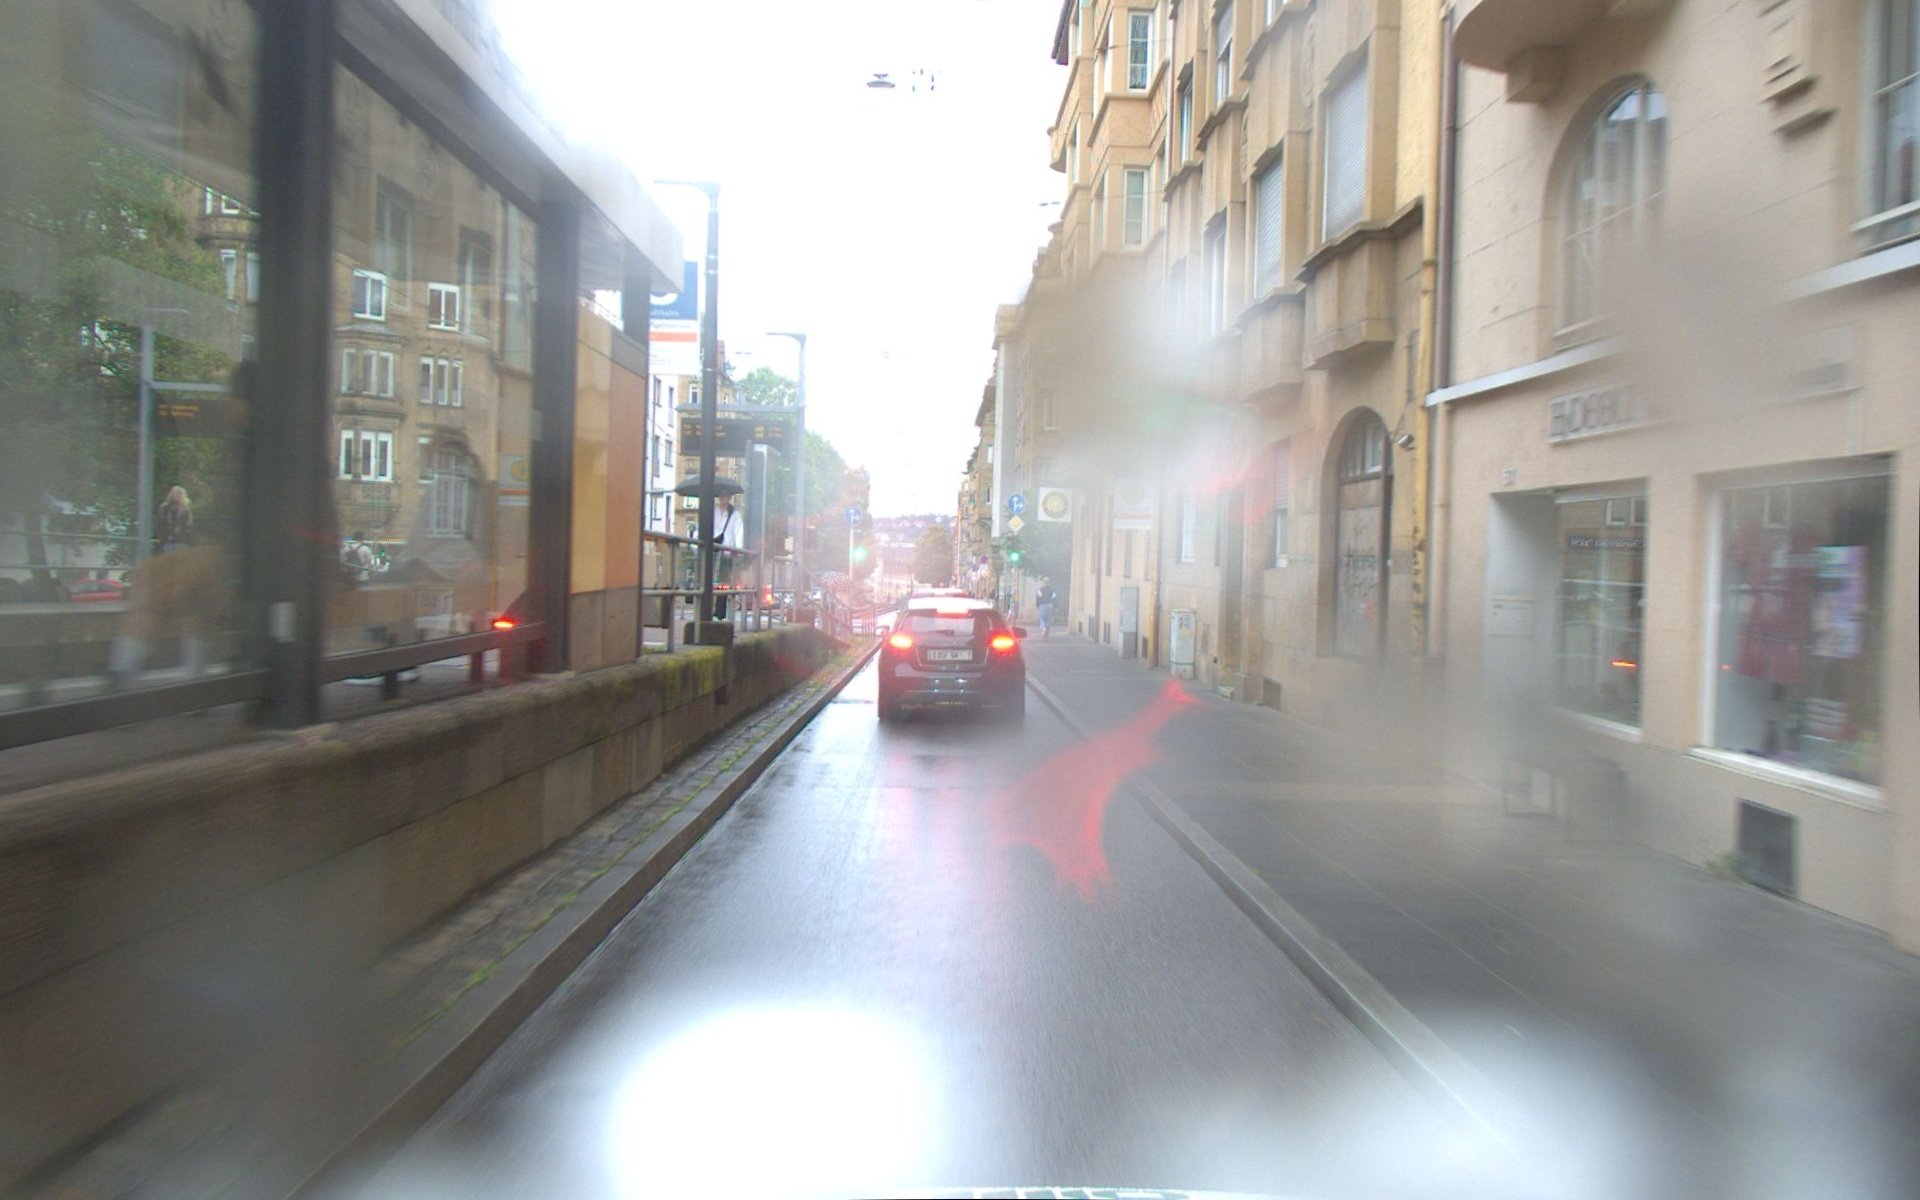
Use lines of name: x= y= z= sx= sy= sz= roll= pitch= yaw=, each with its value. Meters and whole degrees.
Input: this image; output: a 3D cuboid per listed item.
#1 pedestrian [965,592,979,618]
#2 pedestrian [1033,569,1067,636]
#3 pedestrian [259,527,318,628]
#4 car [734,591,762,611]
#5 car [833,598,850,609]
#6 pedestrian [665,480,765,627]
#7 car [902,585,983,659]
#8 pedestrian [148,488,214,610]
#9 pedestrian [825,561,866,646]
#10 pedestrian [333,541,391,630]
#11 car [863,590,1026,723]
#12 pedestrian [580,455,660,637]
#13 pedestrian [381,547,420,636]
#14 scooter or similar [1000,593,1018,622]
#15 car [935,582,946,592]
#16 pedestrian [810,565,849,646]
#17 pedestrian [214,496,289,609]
pedestrian: x=0.832 y=0.346 z=116.034 sx=0.926 sy=1.800 sz=1.014 roll=0 pitch=0 yaw=-3
pedestrian: x=2.567 y=0.069 z=47.199 sx=0.880 sy=1.872 sz=0.969 roll=-3 pitch=0 yaw=4
pedestrian: x=-11.528 y=-0.380 z=28.386 sx=0.728 sy=1.676 sz=0.640 roll=-2 pitch=-2 yaw=-1
car: x=-17.105 y=0.046 z=133.478 sx=1.687 sy=1.568 sz=3.934 roll=0 pitch=0 yaw=1
car: x=-15.081 y=0.466 z=210.575 sx=1.908 sy=1.421 sz=4.273 roll=-1 pitch=0 yaw=0
pedestrian: x=-3.136 y=-0.581 z=21.275 sx=1.091 sy=1.805 sz=1.111 roll=1 pitch=0 yaw=-1
car: x=-0.336 y=0.442 z=36.020 sx=1.615 sy=1.477 sz=4.000 roll=1 pitch=0 yaw=1
pedestrian: x=-11.212 y=-0.724 z=23.826 sx=0.651 sy=1.728 sz=0.688 roll=0 pitch=0 yaw=-4
pedestrian: x=-2.840 y=0.086 z=40.968 sx=0.907 sy=2.049 sz=0.947 roll=1 pitch=0 yaw=-1
pedestrian: x=-11.111 y=-0.252 z=30.743 sx=0.678 sy=1.611 sz=0.956 roll=1 pitch=-2 yaw=-1
car: x=-0.146 y=0.634 z=20.798 sx=1.828 sy=1.477 sz=4.000 roll=1 pitch=0 yaw=1
pedestrian: x=-3.471 y=-0.538 z=16.915 sx=0.630 sy=1.805 sz=0.710 roll=1 pitch=0 yaw=-1
pedestrian: x=-11.815 y=-0.177 z=34.939 sx=0.500 sy=1.850 sz=0.799 roll=1 pitch=0 yaw=-1
scooter or similar: x=2.164 y=0.325 z=73.274 sx=0.625 sy=1.231 sz=1.551 roll=0 pitch=0 yaw=-5
car: x=-2.948 y=-1.886 z=245.386 sx=1.581 sy=1.340 sz=3.999 roll=2 pitch=0 yaw=-1
pedestrian: x=-3.353 y=0.139 z=42.567 sx=0.879 sy=2.049 sz=0.947 roll=1 pitch=0 yaw=-1
pedestrian: x=-11.378 y=-0.751 z=26.598 sx=0.728 sy=1.726 sz=0.882 roll=3 pitch=-2 yaw=-1
